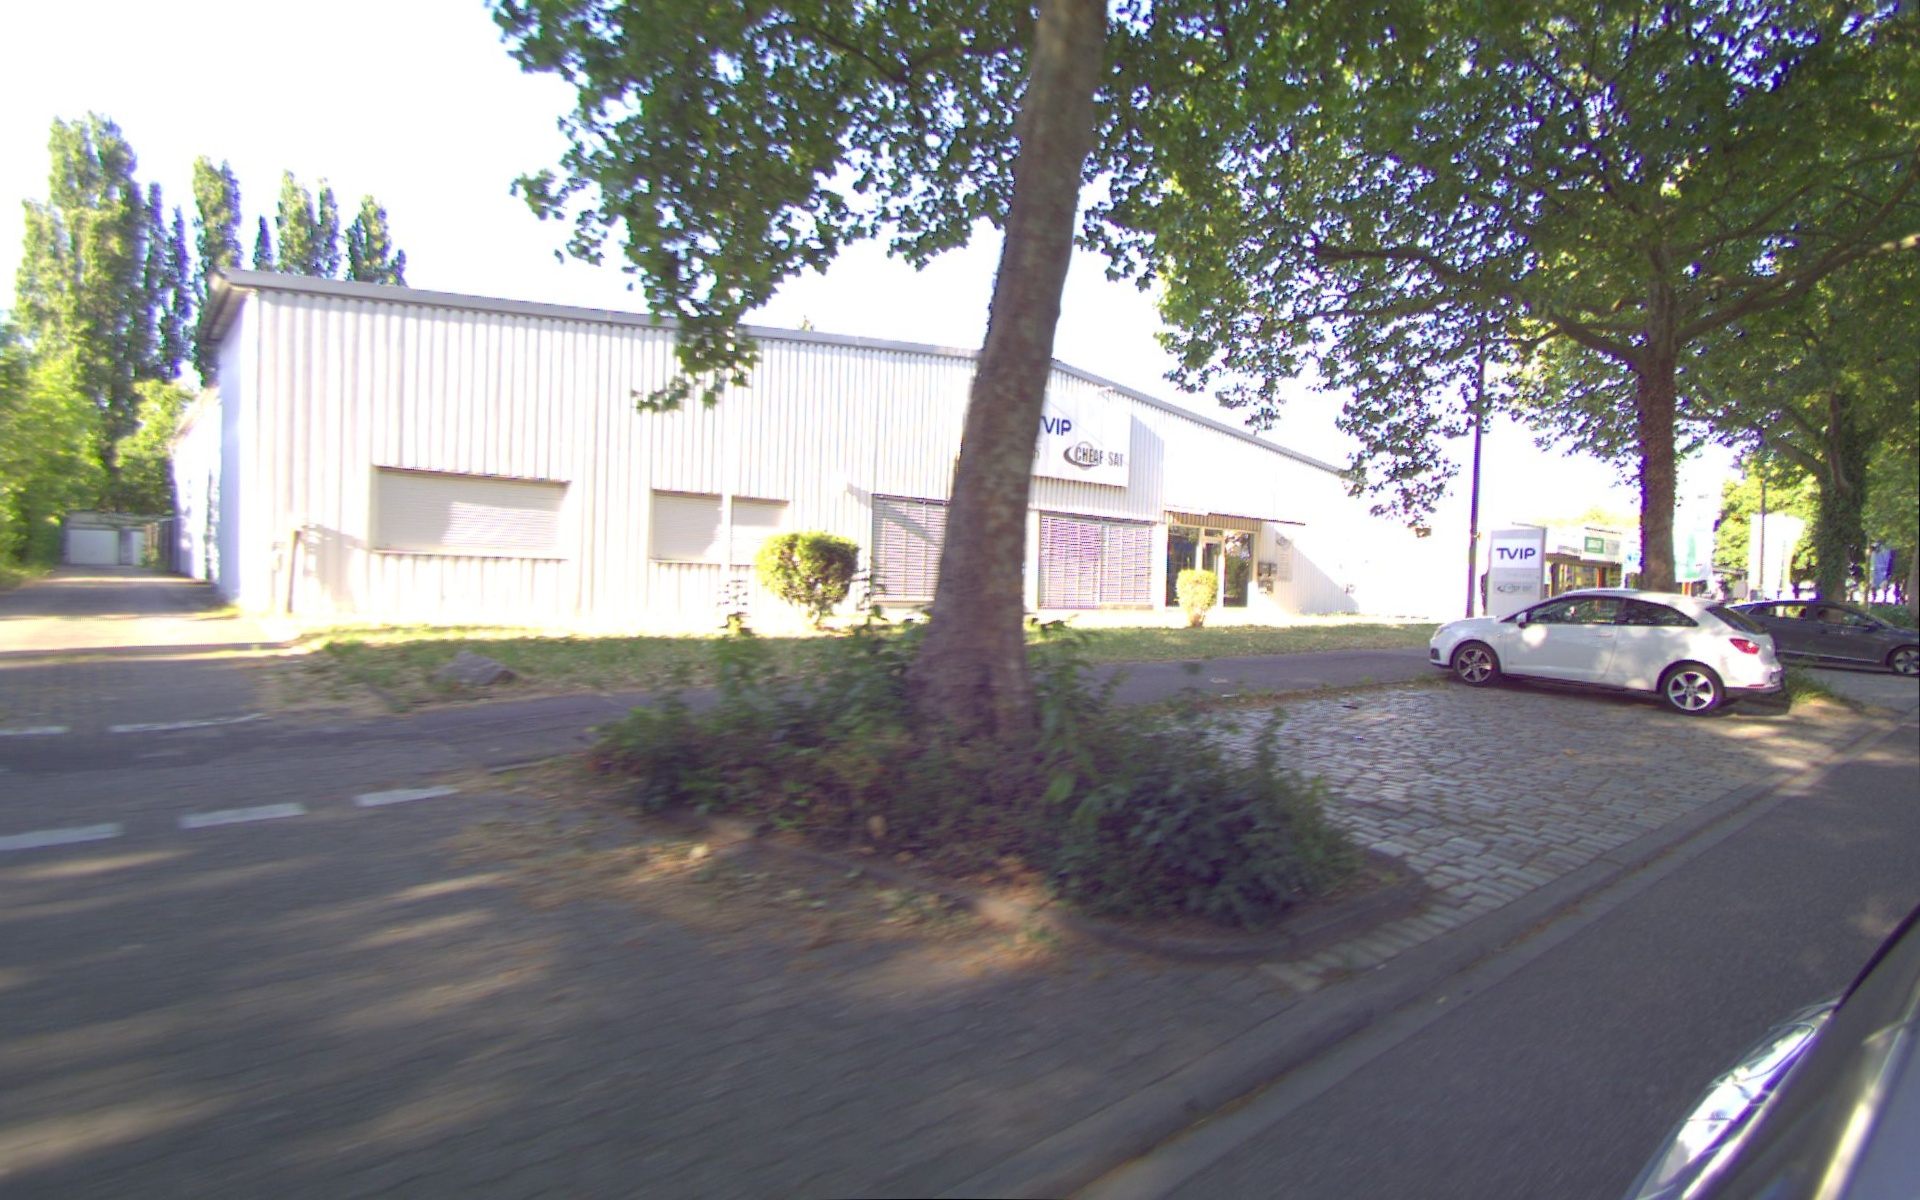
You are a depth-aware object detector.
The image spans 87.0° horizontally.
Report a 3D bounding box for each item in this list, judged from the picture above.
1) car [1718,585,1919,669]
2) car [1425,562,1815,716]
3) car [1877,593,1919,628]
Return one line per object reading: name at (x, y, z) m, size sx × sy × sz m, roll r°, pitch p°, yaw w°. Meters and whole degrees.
car at (19.008, 0.550, 21.471) m, size 4.396 × 1.435 × 1.968 m, roll 7°, pitch 5°, yaw 45°
car at (8.499, 0.374, 13.330) m, size 1.638 × 1.531 × 3.944 m, roll 0°, pitch 5°, yaw -40°
car at (42.836, 0.566, 43.987) m, size 4.291 × 1.435 × 1.968 m, roll 7°, pitch 5°, yaw 45°
